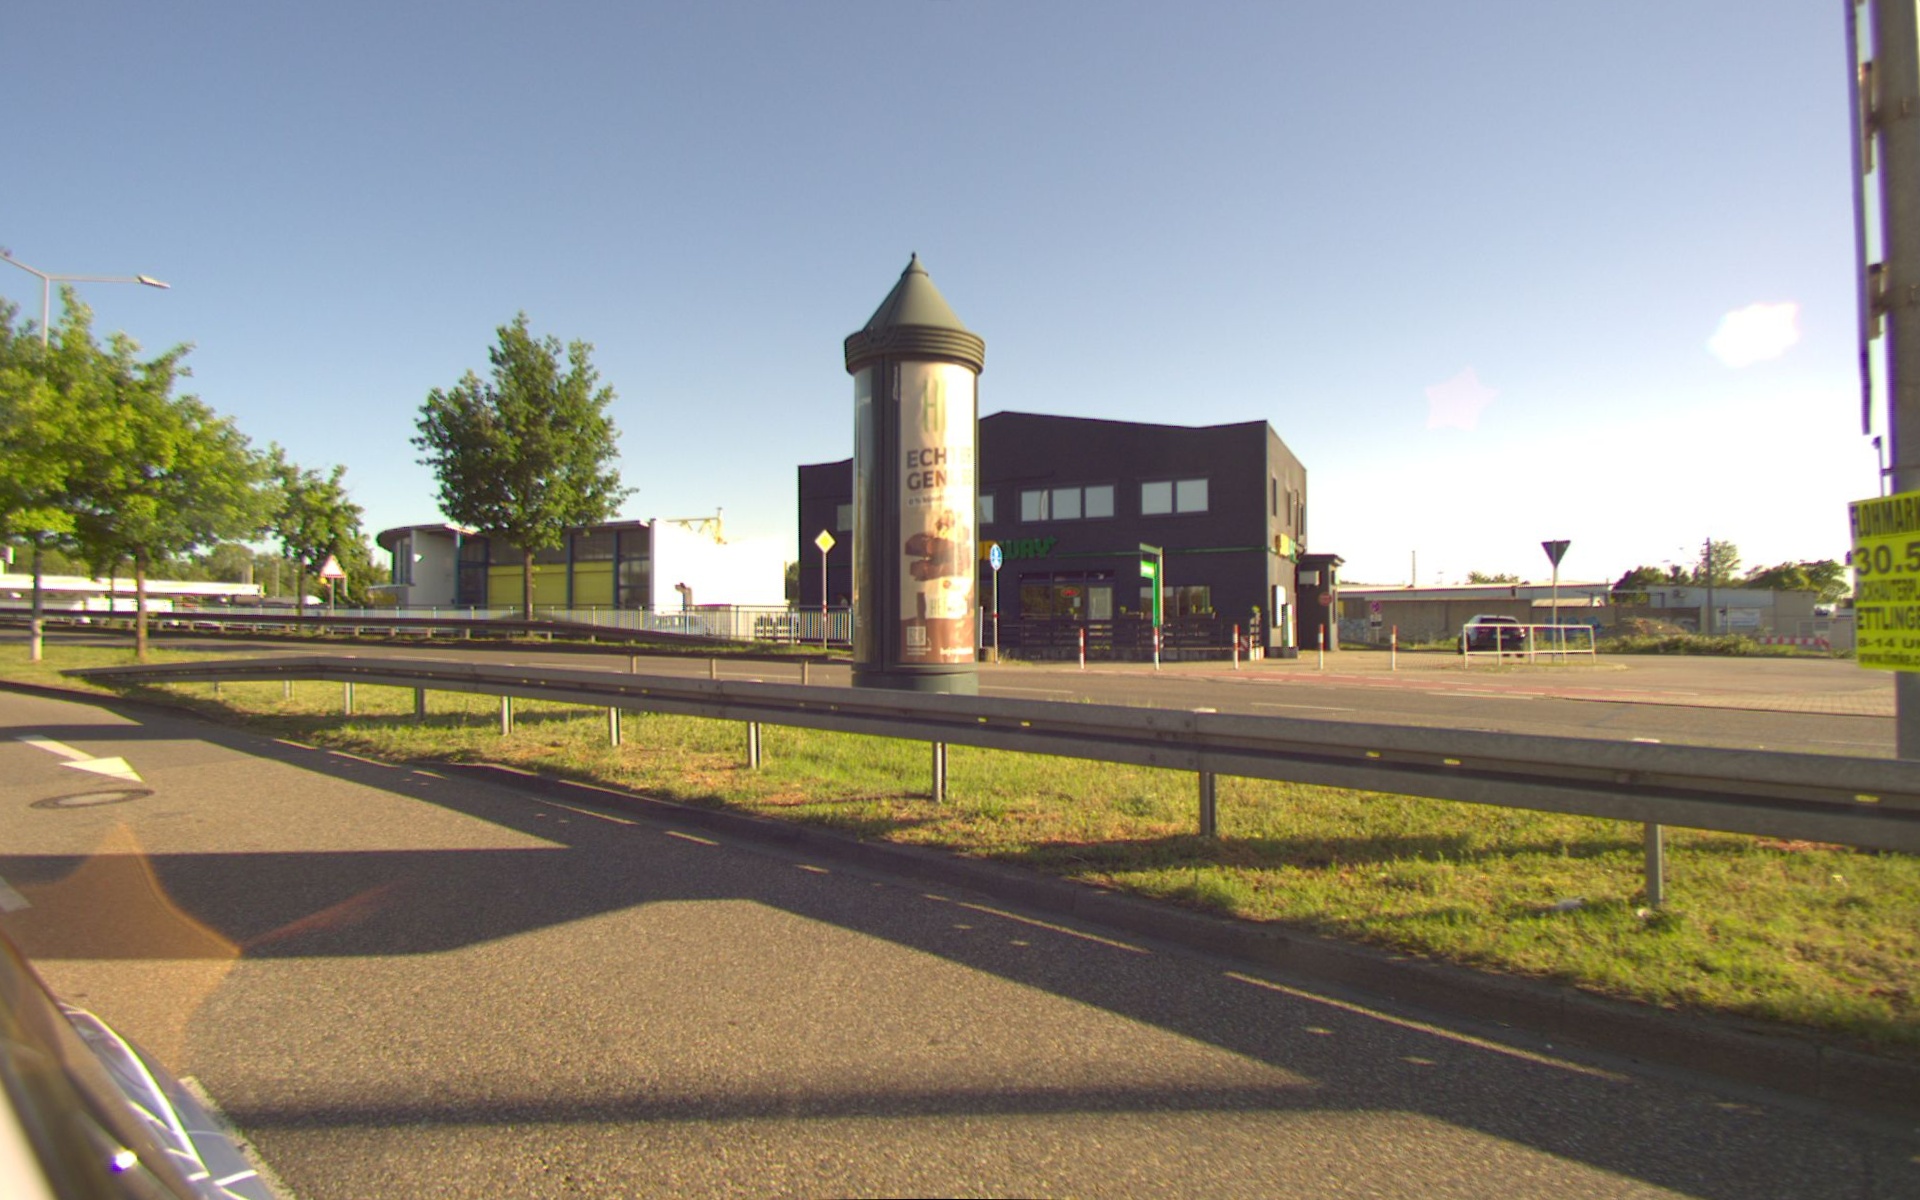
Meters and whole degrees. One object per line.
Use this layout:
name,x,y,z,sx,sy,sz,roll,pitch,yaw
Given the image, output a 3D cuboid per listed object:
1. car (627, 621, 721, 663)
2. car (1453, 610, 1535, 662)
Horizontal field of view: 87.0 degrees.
car,-11.699,1.686,41.478,3.428,1.579,1.618,0,0,-30
car,19.375,1.343,36.901,1.938,1.728,4.083,1,-3,18
